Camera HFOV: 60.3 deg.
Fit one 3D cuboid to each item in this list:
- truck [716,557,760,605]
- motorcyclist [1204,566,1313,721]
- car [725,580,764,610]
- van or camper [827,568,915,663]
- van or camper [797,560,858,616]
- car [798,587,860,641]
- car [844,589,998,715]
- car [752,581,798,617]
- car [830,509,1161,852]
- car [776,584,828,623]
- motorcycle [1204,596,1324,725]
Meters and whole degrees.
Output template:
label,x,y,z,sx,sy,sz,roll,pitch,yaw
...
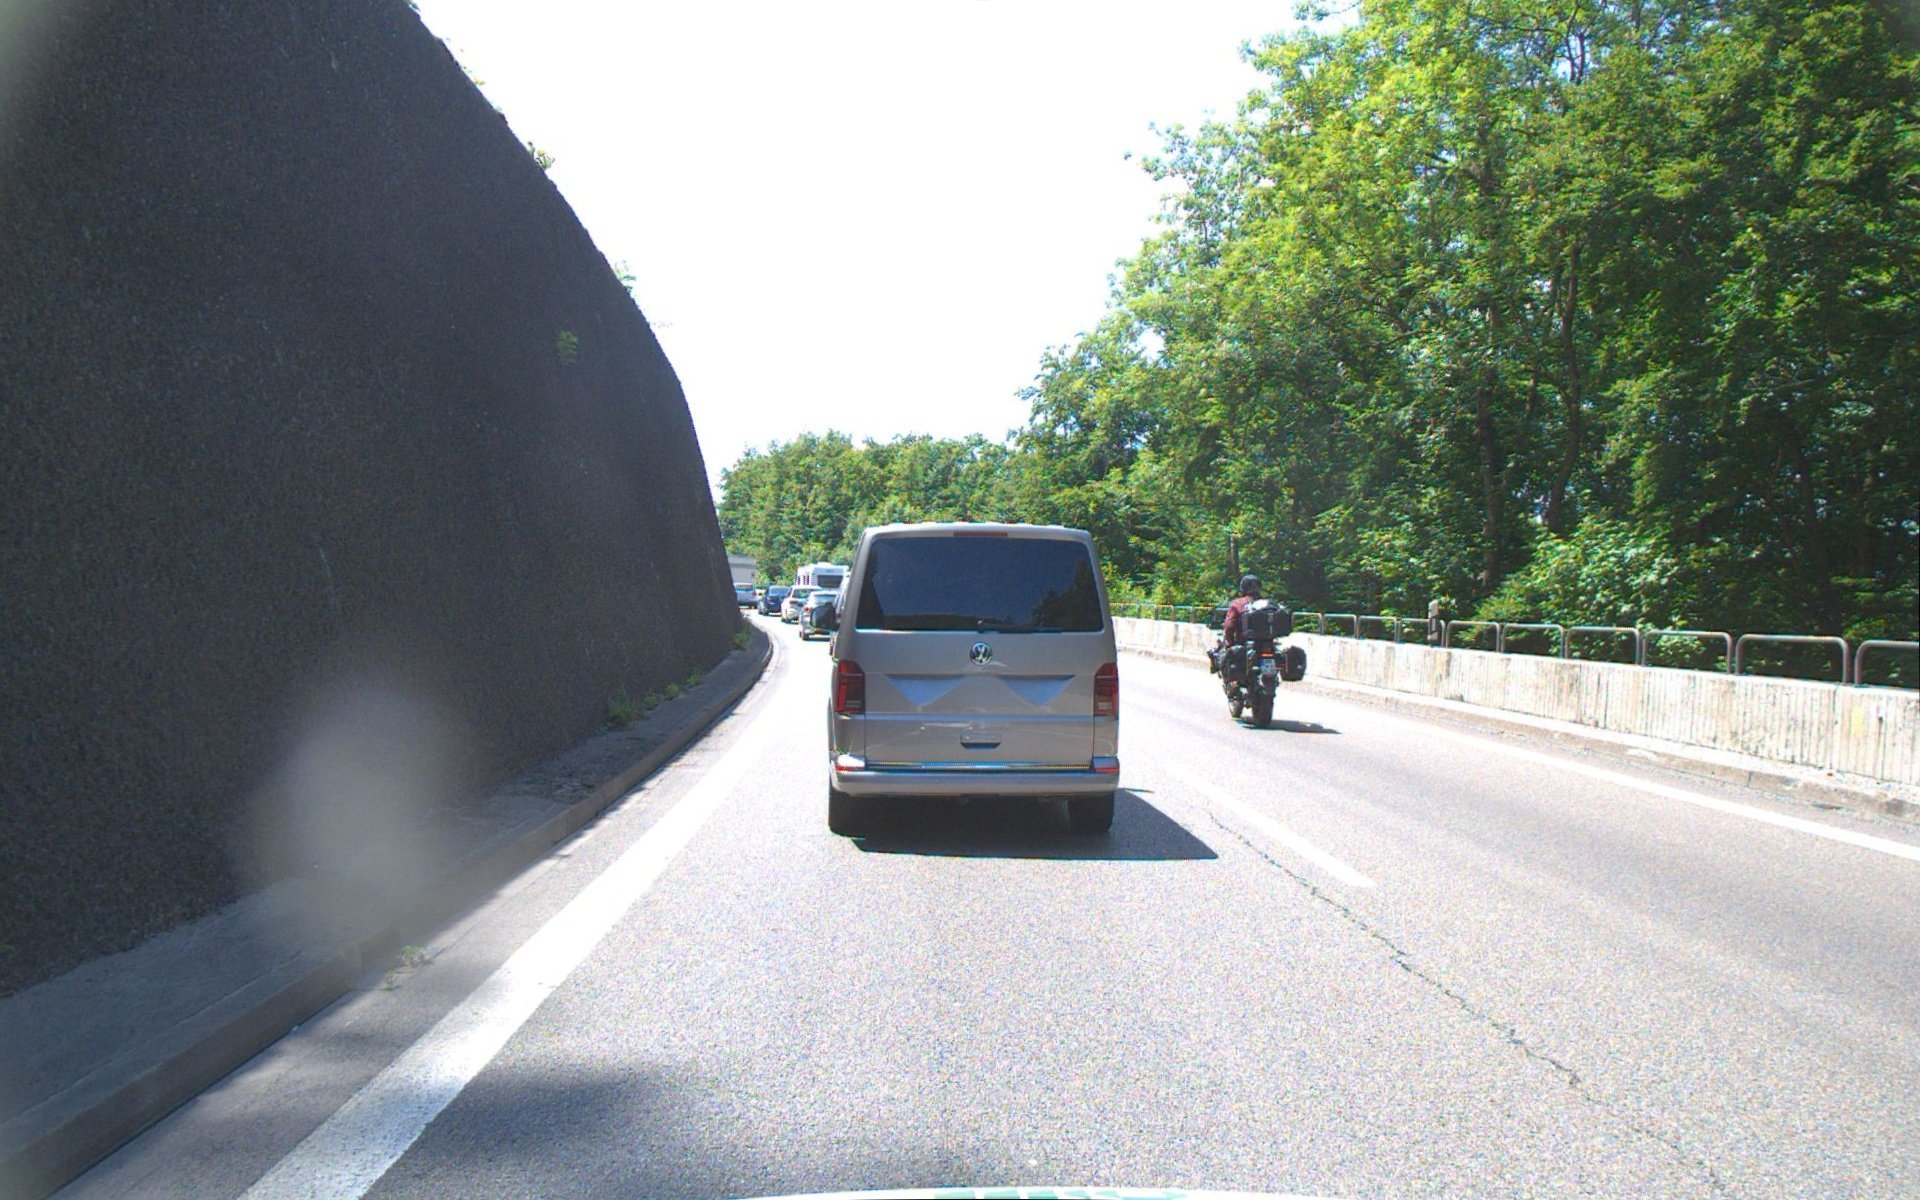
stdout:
label,x,y,z,sx,sy,sz,roll,pitch,yaw
truck,-18.243,-1.553,135.665,2.874,3.751,7.701,2,0,-12
motorcyclist,3.676,0.519,20.482,1.039,1.832,1.338,2,0,-1
car,-12.570,-0.279,96.286,1.958,1.646,3.989,2,0,-12
van or camper,-2.009,0.323,37.012,1.817,1.976,4.162,1,0,-4
van or camper,-7.803,-0.753,96.729,2.558,2.904,6.319,6,0,-11
car,-3.932,0.389,49.462,1.737,1.498,3.996,2,0,-5
car,-0.647,0.652,23.204,1.867,1.515,4.375,3,0,-5
car,-9.104,-0.054,81.263,1.825,1.648,3.988,2,0,-12
car,0.033,0.469,12.092,1.903,1.965,4.690,2,0,-5
car,-6.549,0.134,68.312,1.829,1.512,3.991,2,0,-10
motorcycle,3.680,0.695,20.284,0.952,1.444,2.681,2,0,0
